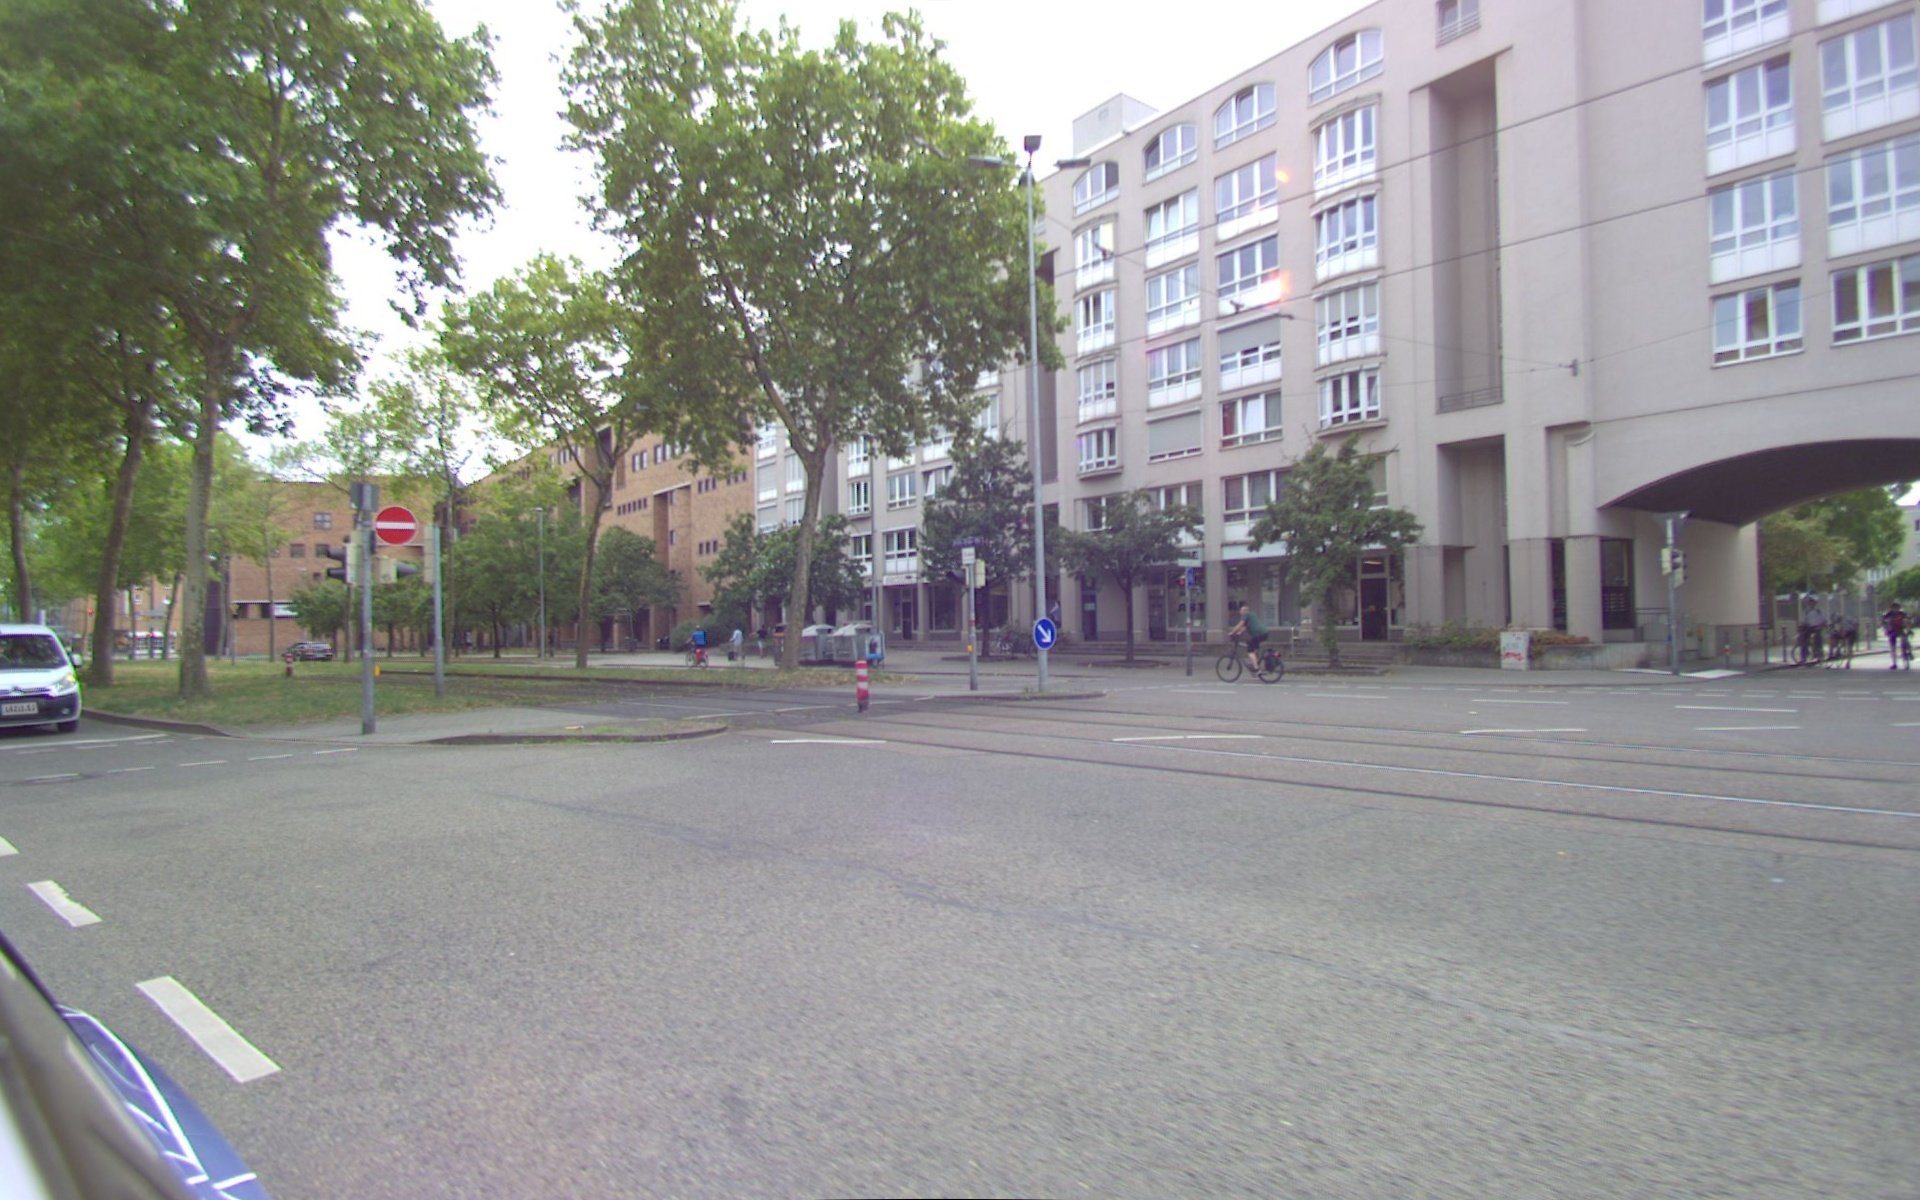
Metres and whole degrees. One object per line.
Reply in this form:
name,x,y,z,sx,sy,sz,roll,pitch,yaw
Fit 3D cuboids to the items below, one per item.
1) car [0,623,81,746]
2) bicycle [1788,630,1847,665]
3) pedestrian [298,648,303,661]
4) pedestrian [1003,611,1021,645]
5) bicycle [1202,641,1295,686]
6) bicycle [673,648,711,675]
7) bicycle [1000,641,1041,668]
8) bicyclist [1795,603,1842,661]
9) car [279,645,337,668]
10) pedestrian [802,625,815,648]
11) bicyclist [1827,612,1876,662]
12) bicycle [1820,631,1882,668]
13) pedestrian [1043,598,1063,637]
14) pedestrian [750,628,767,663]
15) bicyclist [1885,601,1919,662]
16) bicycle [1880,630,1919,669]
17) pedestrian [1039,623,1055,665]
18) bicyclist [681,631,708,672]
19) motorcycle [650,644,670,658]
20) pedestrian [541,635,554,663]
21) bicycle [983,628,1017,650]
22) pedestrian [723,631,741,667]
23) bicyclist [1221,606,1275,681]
car,-17.209,1.477,17.833,4.952,1.940,1.912,-4,-3,41
bicycle,24.678,1.366,29.106,2.151,0.918,0.767,-1,-2,-36
pedestrian,-75.792,6.257,116.320,0.500,1.543,0.521,0,-3,-35
pedestrian,2.440,1.322,47.461,0.563,1.571,0.549,0,-2,-37
bicycle,7.320,1.612,25.788,0.669,1.101,2.210,1,-3,-45
bicycle,-11.545,2.659,43.573,1.878,1.100,0.683,-4,-2,45
bicycle,2.283,2.041,38.178,1.606,0.950,0.441,-1,-2,-38
bicyclist,24.732,0.910,29.159,0.868,1.626,0.769,0,-2,-36
car,-39.844,3.466,61.797,4.531,1.254,1.712,-3,-2,40
pedestrian,-8.790,2.132,58.740,0.451,1.333,0.555,0,-3,-38
bicyclist,24.158,0.999,27.433,0.868,1.314,0.769,0,-2,-36
bicycle,24.146,1.321,27.413,2.151,0.918,0.767,-1,-2,-36
pedestrian,3.976,0.751,43.349,0.563,1.618,0.549,0,-2,-41
pedestrian,-9.917,2.236,49.748,0.546,1.718,0.626,0,-2,-45
bicyclist,24.655,0.819,26.237,0.868,1.551,0.769,0,-2,-36
bicycle,24.636,1.271,26.196,2.151,0.918,0.767,-1,-2,-36
pedestrian,3.255,1.646,37.993,0.509,1.542,0.532,-2,-2,10
bicyclist,-11.385,2.208,43.421,0.953,1.685,0.682,-4,-2,44
motorcycle,-23.328,3.951,78.830,0.365,1.031,1.566,-3,-2,38
pedestrian,-25.775,3.031,63.191,0.546,1.718,0.626,0,-3,-45
bicycle,1.724,1.699,43.890,0.434,0.950,1.635,0,-2,-41
pedestrian,-10.909,2.351,48.357,0.546,1.718,0.626,0,-3,-45
bicyclist,7.337,1.103,25.776,0.659,1.862,1.082,1,-3,-45
